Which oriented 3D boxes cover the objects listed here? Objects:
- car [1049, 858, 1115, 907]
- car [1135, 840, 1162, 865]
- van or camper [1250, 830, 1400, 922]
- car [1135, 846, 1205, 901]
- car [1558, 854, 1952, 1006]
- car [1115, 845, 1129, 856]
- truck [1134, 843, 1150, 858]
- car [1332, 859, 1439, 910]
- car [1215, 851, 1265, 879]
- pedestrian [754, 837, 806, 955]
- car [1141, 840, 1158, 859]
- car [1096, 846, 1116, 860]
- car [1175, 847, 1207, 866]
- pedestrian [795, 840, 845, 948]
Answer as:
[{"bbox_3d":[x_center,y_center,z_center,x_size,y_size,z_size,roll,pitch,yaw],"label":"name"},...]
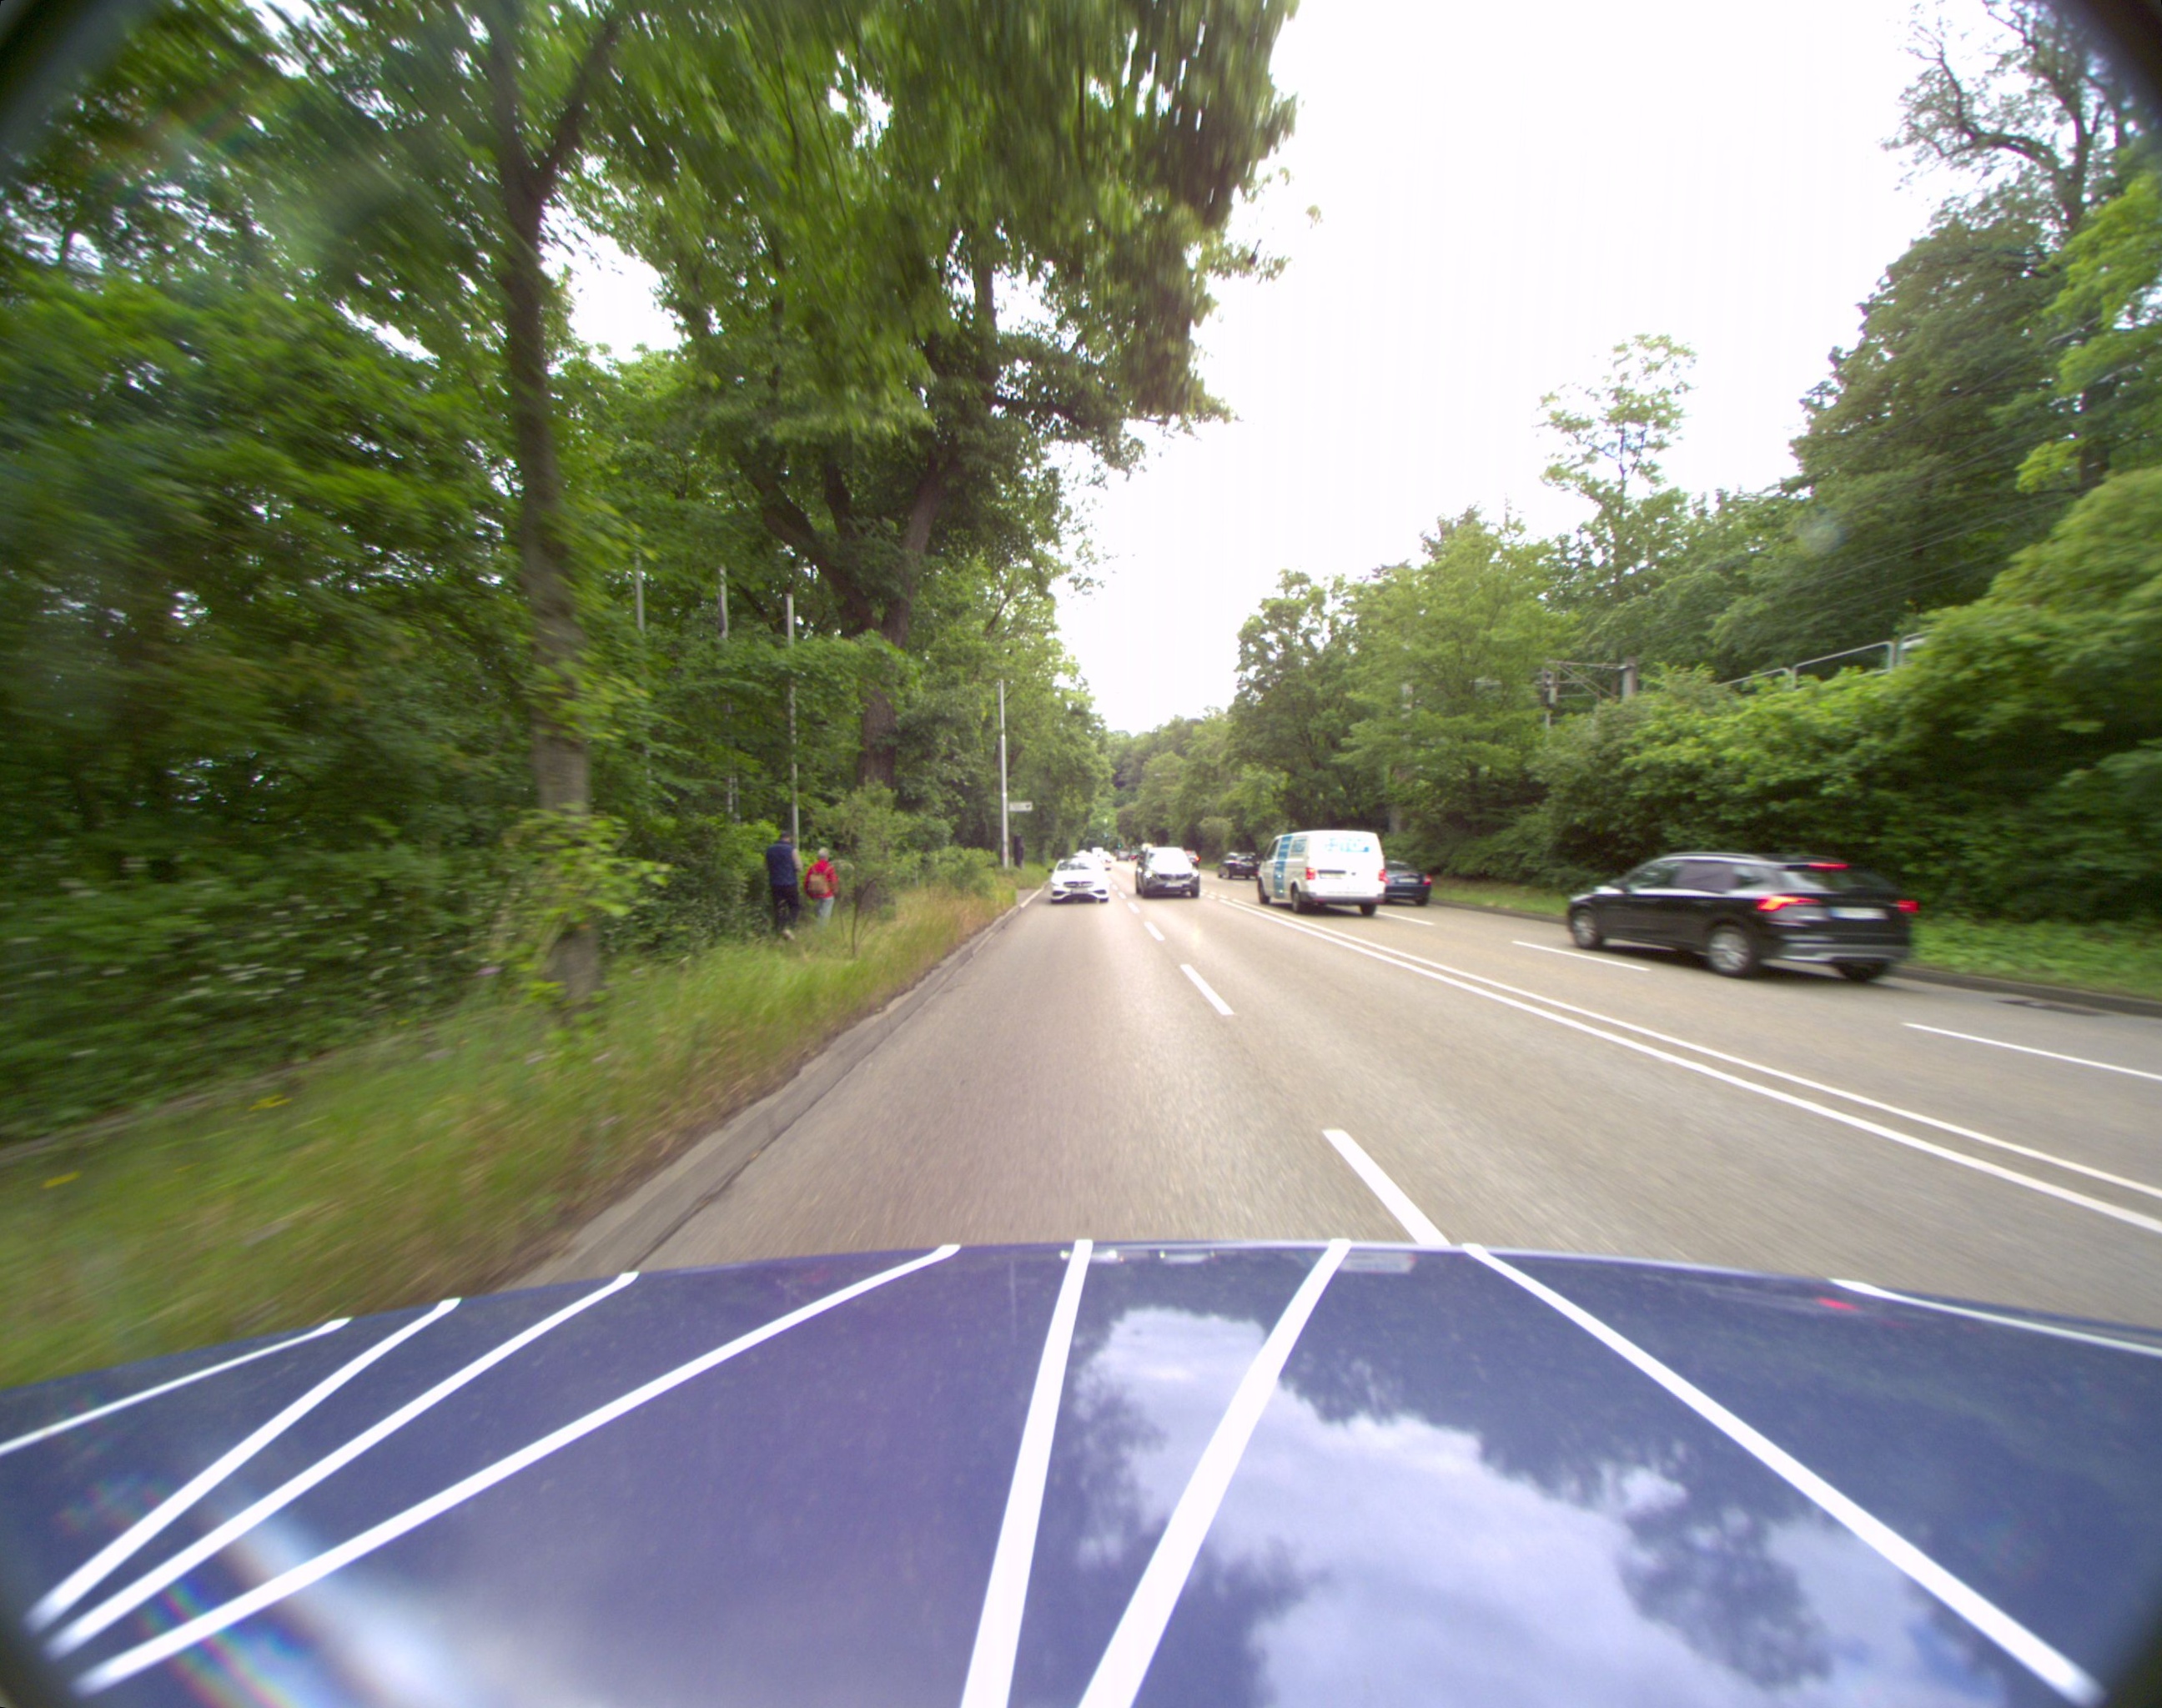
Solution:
[{"bbox_3d":[0.024,0.848,24.463,1.897,1.289,4.327,-2,1,0],"label":"car"},{"bbox_3d":[5.970,-0.141,67.854,1.815,1.654,4.824,-4,6,0],"label":"car"},{"bbox_3d":[5.962,0.450,19.413,1.999,2.002,5.367,1,1,-1],"label":"van or camper"},{"bbox_3d":[2.924,0.587,25.689,1.871,1.653,4.191,1,1,0],"label":"car"},{"bbox_3d":[8.692,0.839,10.396,1.740,1.587,4.068,2,1,0],"label":"car"},{"bbox_3d":[6.313,-0.552,117.041,1.843,1.457,4.465,-4,1,0],"label":"car"},{"bbox_3d":[9.986,-0.582,125.088,2.182,2.397,6.465,2,1,2],"label":"truck"},{"bbox_3d":[9.095,0.850,23.030,1.646,1.305,3.999,1,1,1],"label":"car"},{"bbox_3d":[8.820,0.583,42.533,1.918,1.459,4.529,1,0,1],"label":"car"},{"bbox_3d":[-4.562,0.616,11.535,0.520,1.743,0.524,-2,1,-3],"label":"pedestrian"},{"bbox_3d":[9.735,-0.687,108.410,1.892,2.541,4.914,2,1,1],"label":"car"},{"bbox_3d":[3.335,-0.116,102.119,1.699,1.733,3.996,-2,1,-11],"label":"car"},{"bbox_3d":[9.625,0.199,66.934,1.797,1.602,4.186,1,1,-6],"label":"car"},{"bbox_3d":[-4.153,0.618,12.107,0.610,1.688,0.548,0,1,-3],"label":"pedestrian"}]
